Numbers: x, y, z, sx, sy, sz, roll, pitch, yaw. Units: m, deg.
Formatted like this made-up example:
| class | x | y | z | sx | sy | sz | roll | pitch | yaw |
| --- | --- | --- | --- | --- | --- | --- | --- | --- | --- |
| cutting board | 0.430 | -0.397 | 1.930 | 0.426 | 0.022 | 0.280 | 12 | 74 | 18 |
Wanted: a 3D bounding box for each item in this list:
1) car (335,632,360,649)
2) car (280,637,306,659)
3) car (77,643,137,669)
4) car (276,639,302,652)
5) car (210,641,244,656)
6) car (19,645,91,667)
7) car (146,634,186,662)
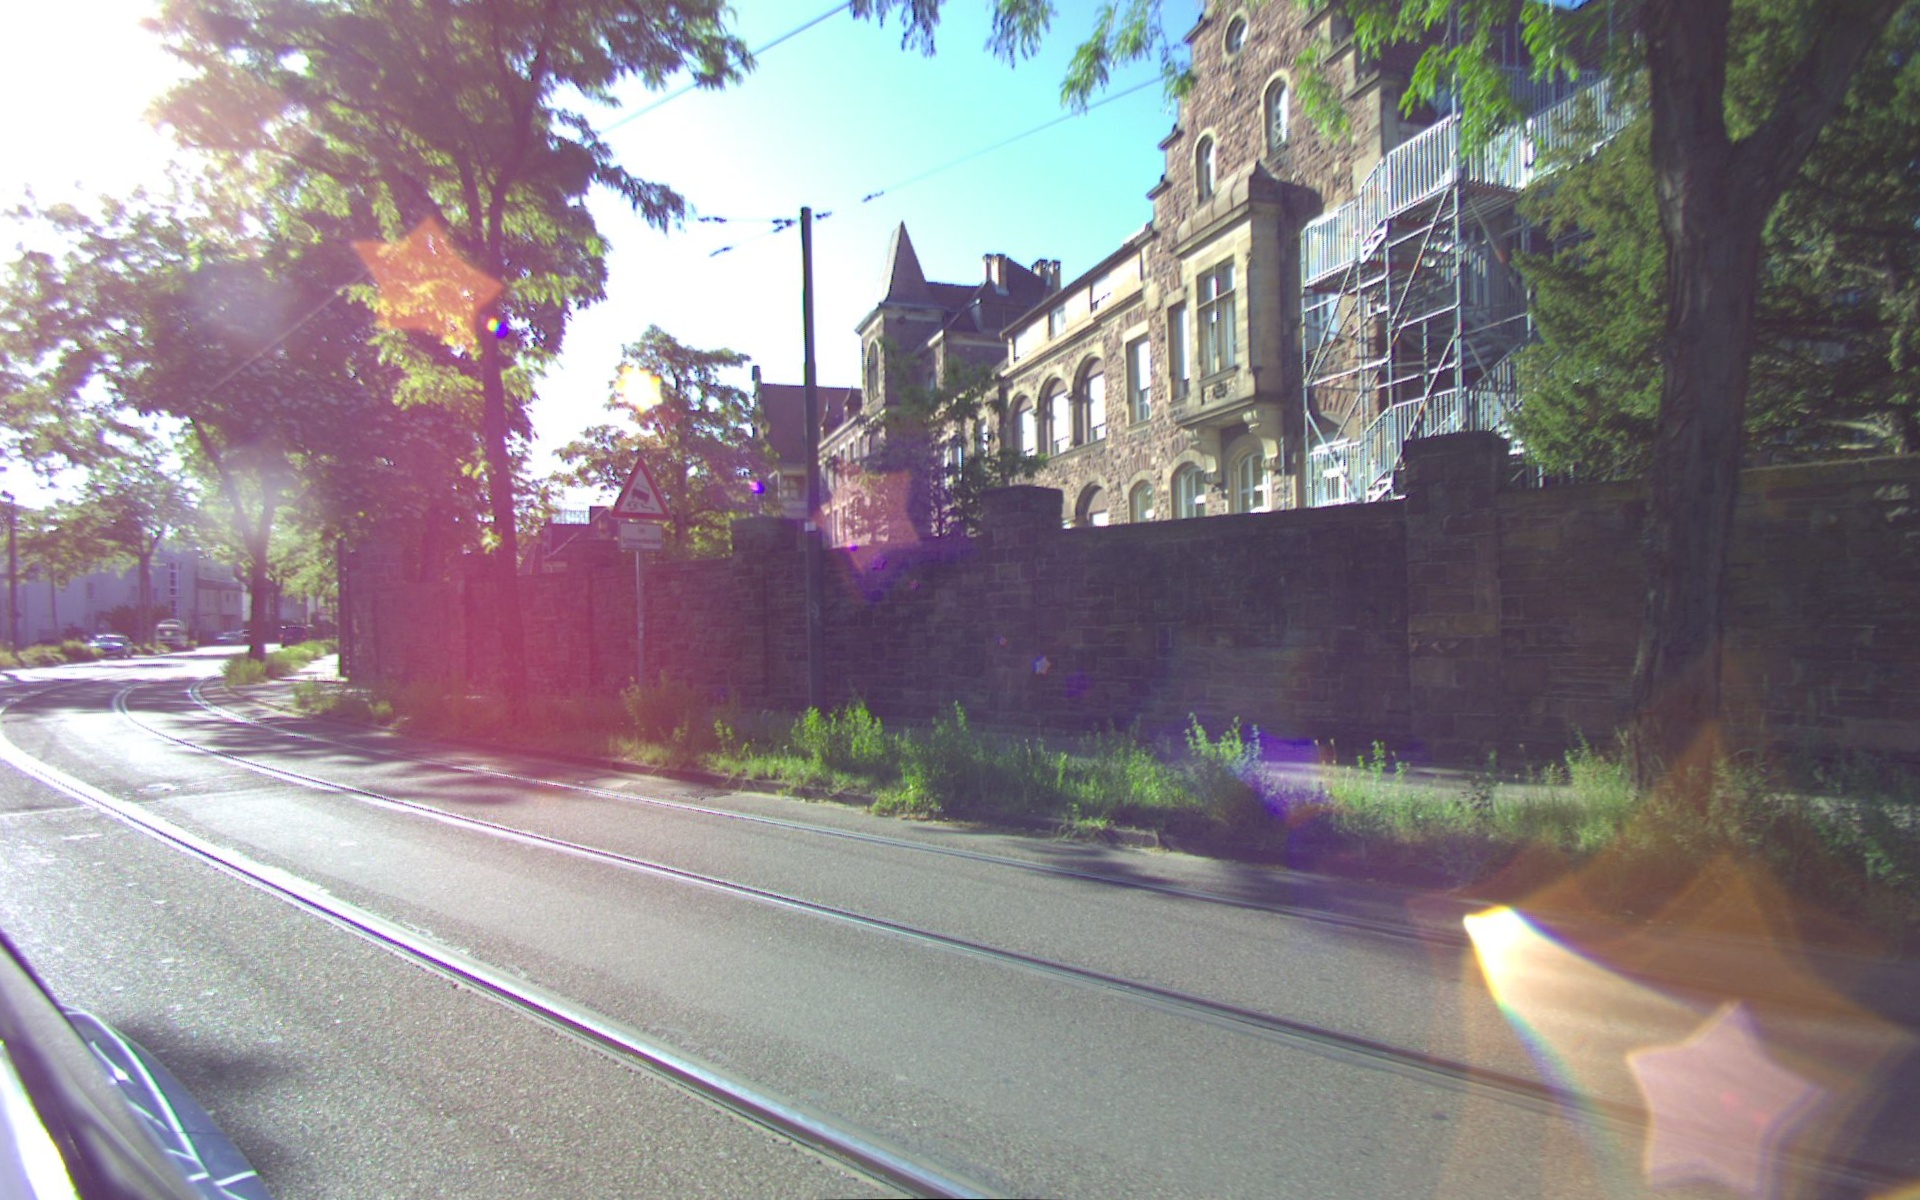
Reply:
| class | x | y | z | sx | sy | sz | roll | pitch | yaw |
| --- | --- | --- | --- | --- | --- | --- | --- | --- | --- |
| car | -97.173 | 6.419 | 160.508 | 2.259 | 2.609 | 5.736 | -1 | -1 | -20 |
| car | -56.369 | 4.019 | 85.623 | 1.610 | 1.806 | 4.351 | 0 | -2 | -31 |
| car | -54.761 | 3.579 | 65.070 | 1.973 | 1.476 | 5.449 | 3 | -3 | -30 |
| car | -86.173 | 5.840 | 129.989 | 1.849 | 1.530 | 4.664 | -1 | -1 | -22 |
| car | -78.261 | 5.176 | 108.104 | 1.714 | 1.507 | 4.544 | -1 | -1 | -20 |
| car | -76.354 | 4.697 | 85.426 | 2.009 | 1.501 | 4.400 | 2 | 1 | 43 |
| car | -63.500 | 3.828 | 81.023 | 1.966 | 2.111 | 4.730 | 0 | -2 | -31 |
